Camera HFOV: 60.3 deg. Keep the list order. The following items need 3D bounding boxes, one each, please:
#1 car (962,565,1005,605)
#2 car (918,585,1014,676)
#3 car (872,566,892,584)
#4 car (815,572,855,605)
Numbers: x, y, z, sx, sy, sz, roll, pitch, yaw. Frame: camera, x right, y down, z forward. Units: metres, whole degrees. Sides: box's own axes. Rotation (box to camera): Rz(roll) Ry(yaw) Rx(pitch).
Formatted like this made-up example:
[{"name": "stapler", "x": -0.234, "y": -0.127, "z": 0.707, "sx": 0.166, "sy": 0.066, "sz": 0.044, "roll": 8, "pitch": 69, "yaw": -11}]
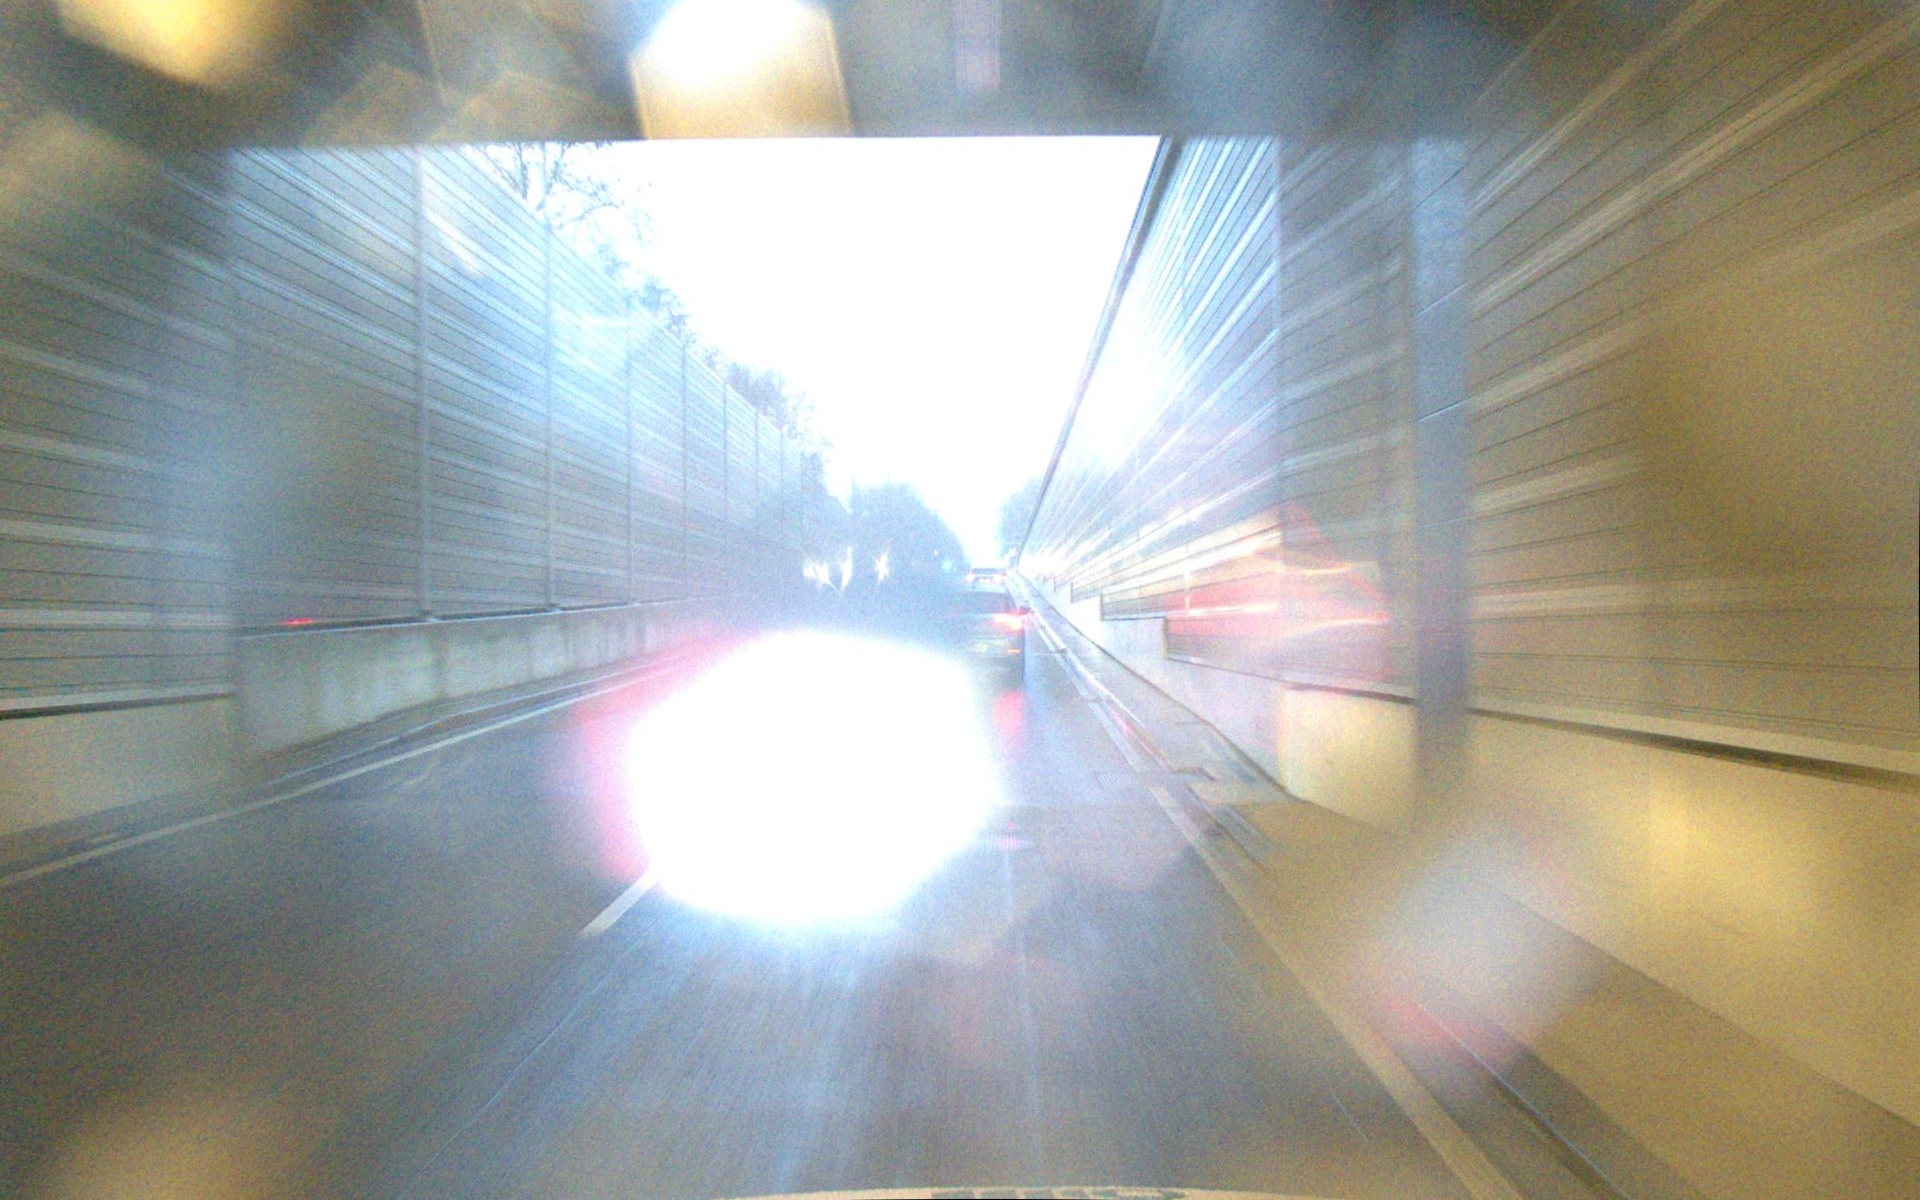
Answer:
[{"name": "car", "x": 1.031, "y": -0.651, "z": 74.471, "sx": 1.842, "sy": 1.649, "sz": 3.999, "roll": 1, "pitch": -1, "yaw": -1}, {"name": "car", "x": 0.132, "y": 0.486, "z": 27.693, "sx": 1.500, "sy": 1.422, "sz": 3.434, "roll": 0, "pitch": 0, "yaw": 1}, {"name": "car", "x": -6.702, "y": -2.165, "z": 142.122, "sx": 1.539, "sy": 1.496, "sz": 3.688, "roll": -1, "pitch": 2, "yaw": 0}, {"name": "car", "x": -6.886, "y": -0.622, "z": 91.441, "sx": 1.841, "sy": 1.649, "sz": 4.000, "roll": 1, "pitch": -1, "yaw": 1}]
